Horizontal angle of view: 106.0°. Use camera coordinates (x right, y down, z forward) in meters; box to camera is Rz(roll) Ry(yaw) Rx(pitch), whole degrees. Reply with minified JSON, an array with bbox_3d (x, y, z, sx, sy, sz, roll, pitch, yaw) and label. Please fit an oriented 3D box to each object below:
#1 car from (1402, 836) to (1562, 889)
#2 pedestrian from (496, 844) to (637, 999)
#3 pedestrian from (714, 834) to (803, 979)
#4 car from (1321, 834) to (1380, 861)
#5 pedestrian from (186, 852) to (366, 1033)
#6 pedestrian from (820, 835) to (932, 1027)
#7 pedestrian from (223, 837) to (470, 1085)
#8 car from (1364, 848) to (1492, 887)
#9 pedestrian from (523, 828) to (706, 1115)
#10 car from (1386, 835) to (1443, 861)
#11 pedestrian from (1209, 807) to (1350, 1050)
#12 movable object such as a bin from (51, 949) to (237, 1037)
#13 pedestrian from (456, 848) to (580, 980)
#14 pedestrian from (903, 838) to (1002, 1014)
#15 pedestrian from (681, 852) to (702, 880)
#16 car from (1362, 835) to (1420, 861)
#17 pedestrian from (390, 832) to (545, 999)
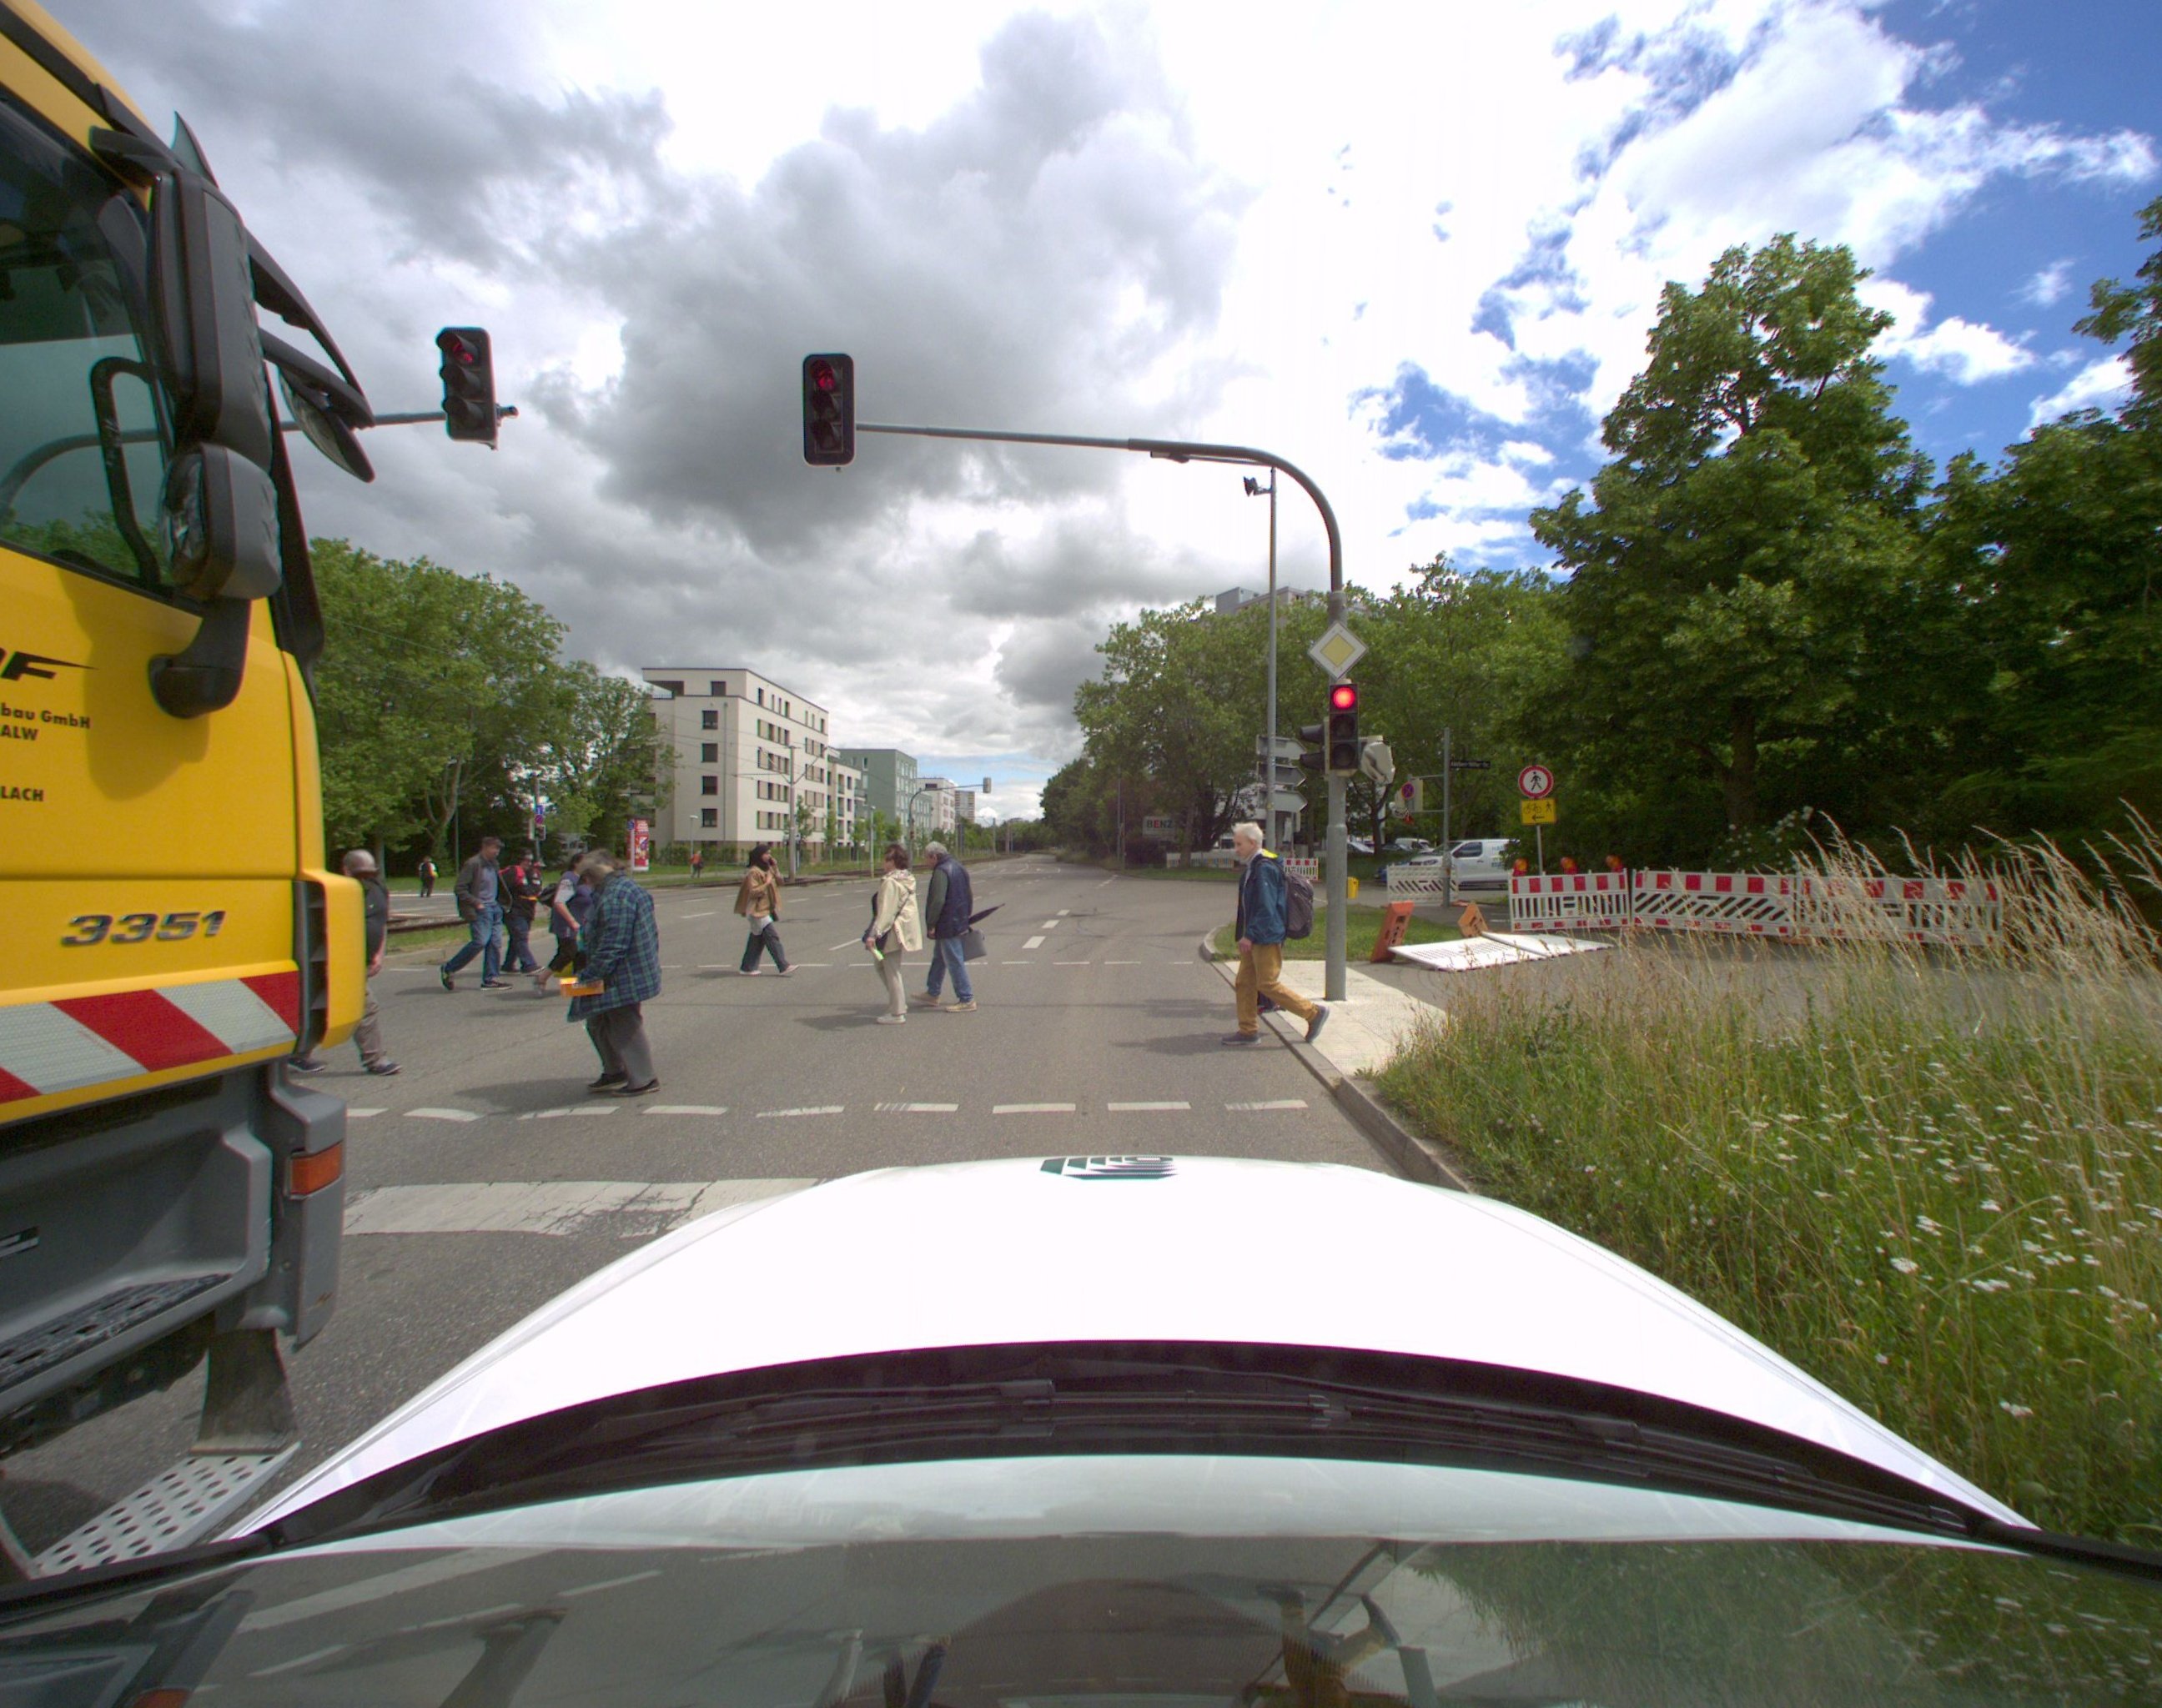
[{"bbox_3d":[14.914,0.301,30.451,5.063,1.874,1.947,-1,0,-2],"label":"car"},{"bbox_3d":[-5.596,0.701,8.918,0.909,1.607,0.930,-1,0,2],"label":"pedestrian"},{"bbox_3d":[-4.031,0.630,10.235,0.779,1.742,0.828,-1,0,-1],"label":"pedestrian"},{"bbox_3d":[20.567,-0.484,62.246,2.006,2.013,3.962,-1,0,-29],"label":"car"},{"bbox_3d":[-7.296,0.765,7.419,0.877,1.554,0.747,-1,0,2],"label":"pedestrian"},{"bbox_3d":[-1.827,0.654,7.354,0.820,1.640,0.733,-1,0,-2],"label":"pedestrian"},{"bbox_3d":[-5.232,0.715,5.873,0.955,1.648,0.881,-1,0,2],"label":"pedestrian"},{"bbox_3d":[14.250,0.534,33.620,4.461,1.486,1.989,-1,0,0],"label":"car"},{"bbox_3d":[-2.941,0.685,5.222,0.823,1.671,0.730,-1,0,-14],"label":"pedestrian"},{"bbox_3d":[27.313,-0.496,66.861,2.006,2.013,3.962,-1,0,-29],"label":"car"},{"bbox_3d":[1.554,0.544,6.502,1.003,1.774,0.951,0,0,11],"label":"pedestrian"},{"bbox_3d":[-8.535,1.254,7.454,0.792,0.662,0.778,-1,0,2],"label":"movable object such as a bin"},{"bbox_3d":[-7.150,0.727,10.377,0.887,1.596,0.911,-1,0,12],"label":"pedestrian"},{"bbox_3d":[-1.243,0.671,8.027,0.866,1.634,0.765,-1,0,-3],"label":"pedestrian"},{"bbox_3d":[-21.810,0.654,45.561,0.827,1.516,0.636,-1,0,1],"label":"pedestrian"},{"bbox_3d":[24.598,-0.492,64.727,2.006,2.013,3.962,-1,0,-29],"label":"car"},{"bbox_3d":[-6.845,0.657,9.140,0.998,1.773,0.930,-1,0,2],"label":"pedestrian"}]
